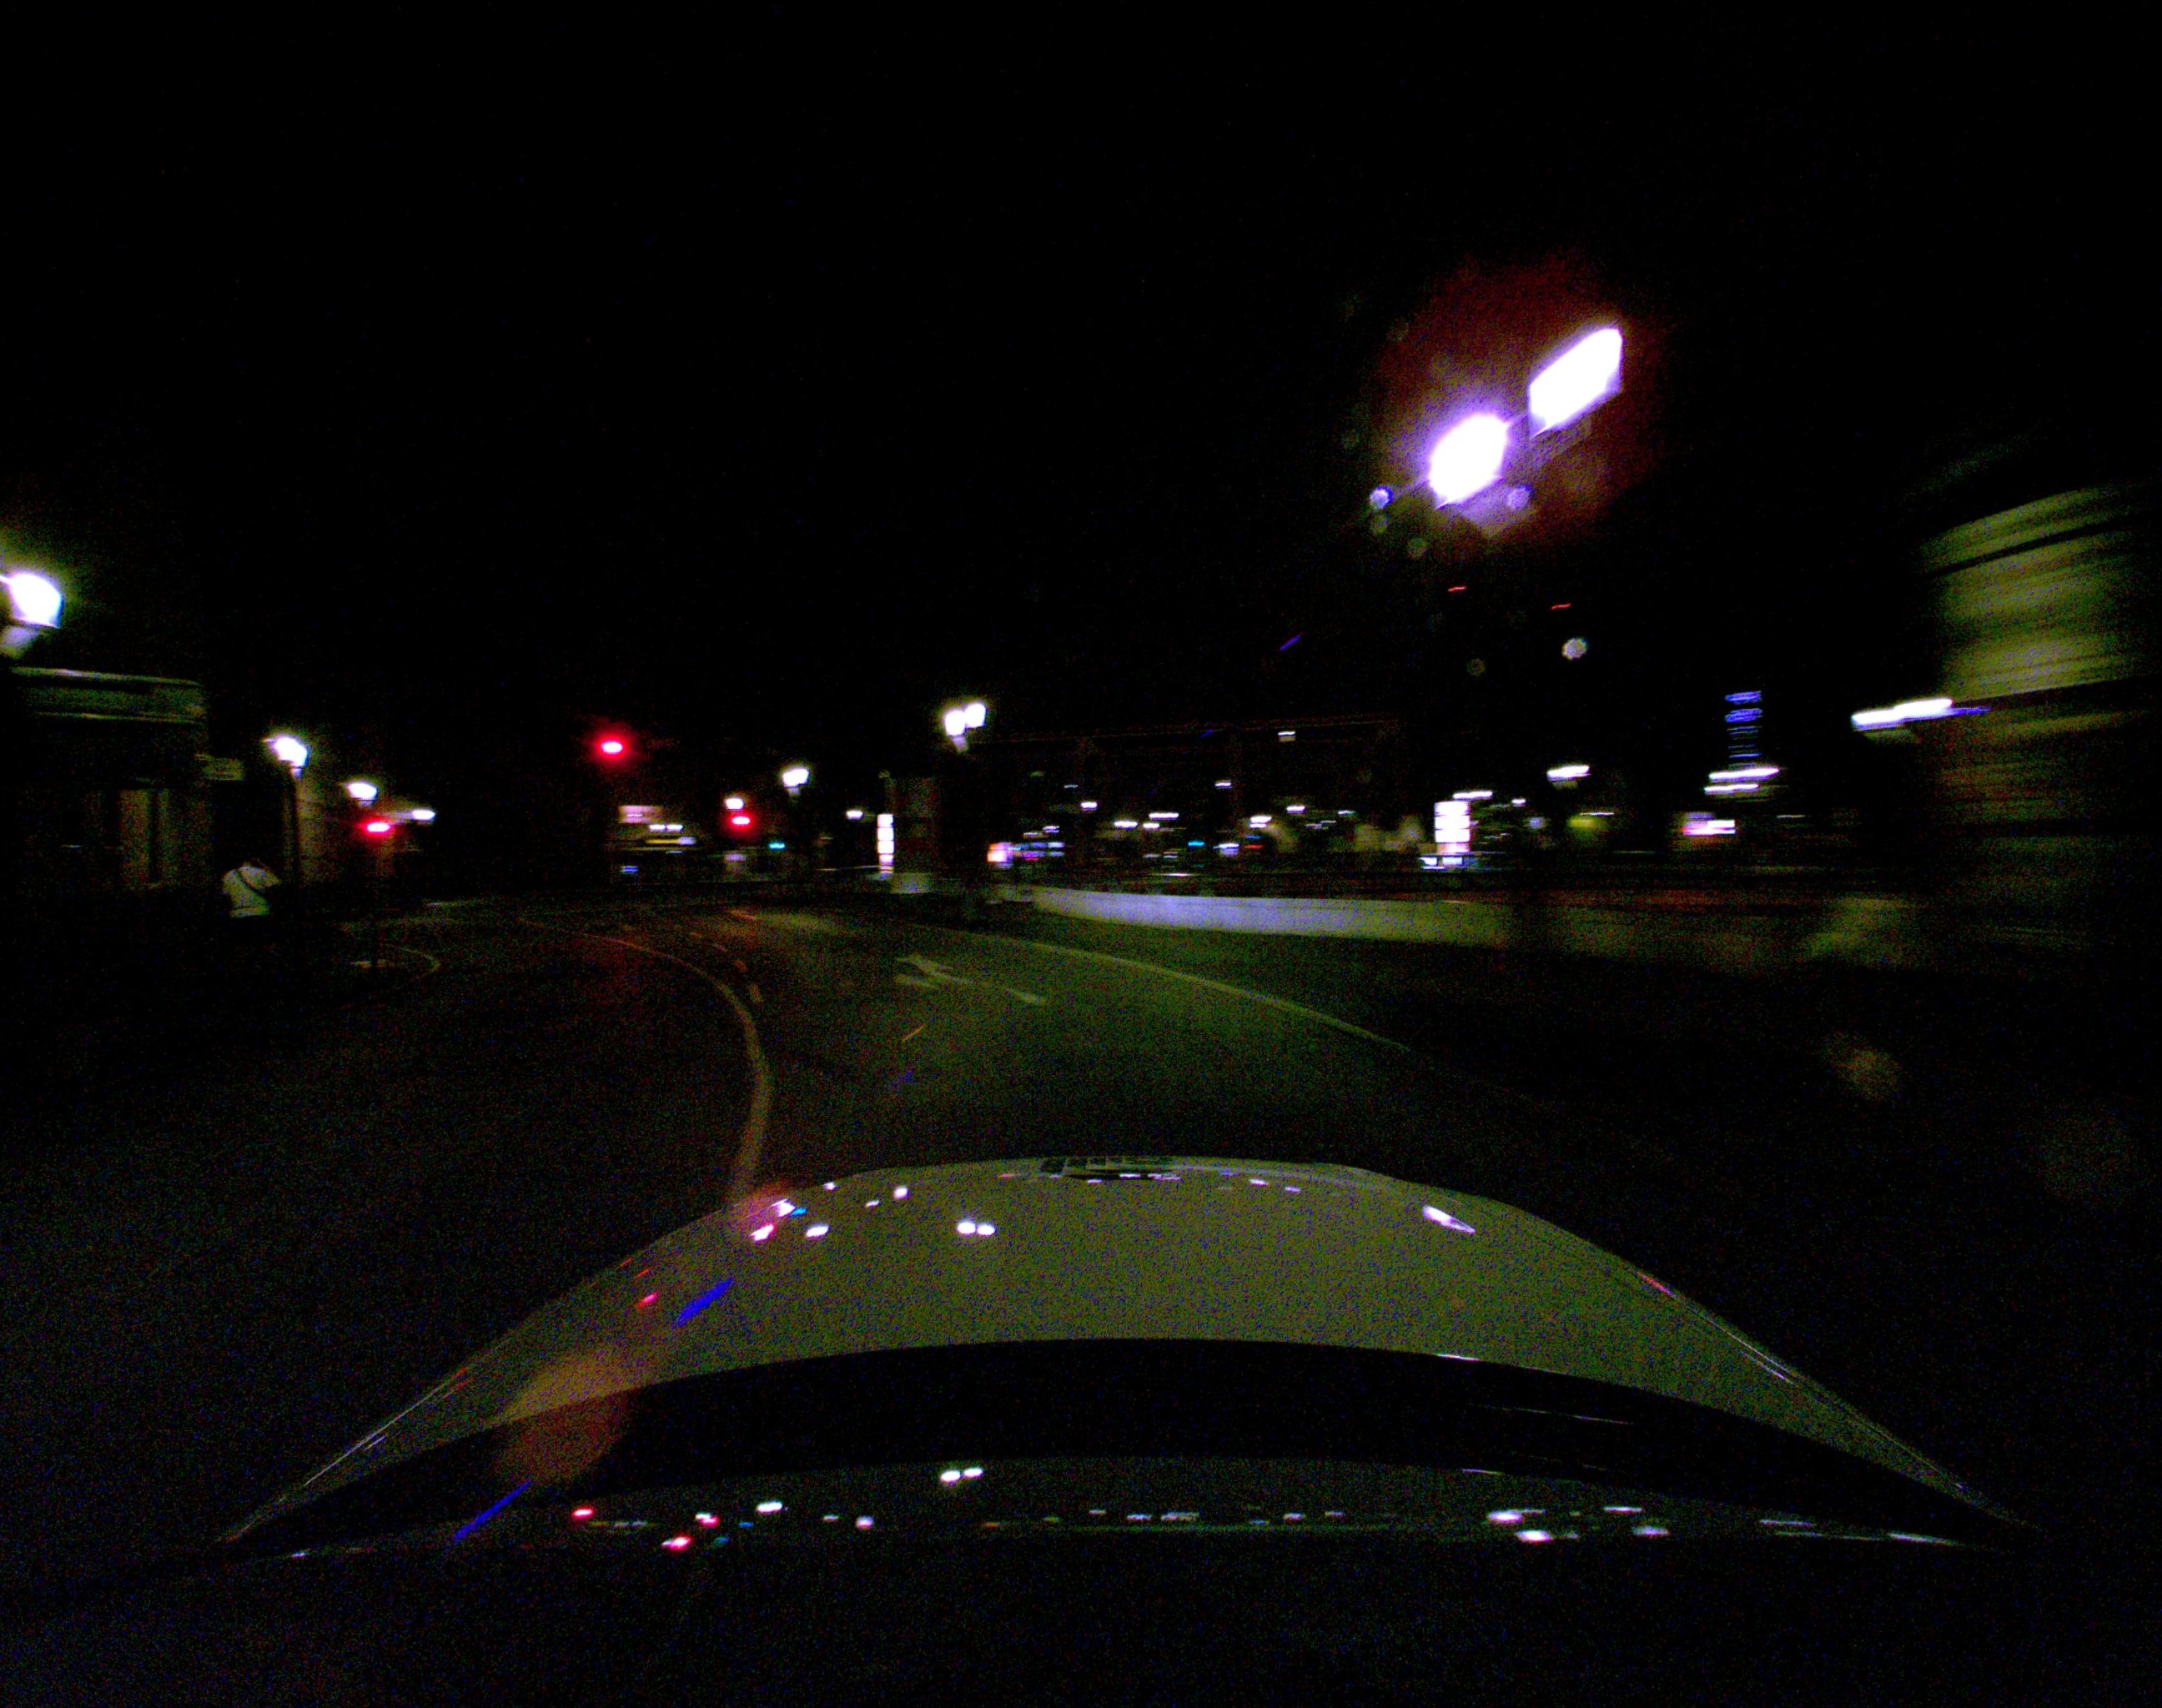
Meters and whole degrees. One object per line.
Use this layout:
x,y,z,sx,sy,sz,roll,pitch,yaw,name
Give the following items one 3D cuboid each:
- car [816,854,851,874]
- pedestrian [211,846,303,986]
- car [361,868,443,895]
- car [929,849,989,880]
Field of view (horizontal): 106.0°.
-21.026,0.845,69.179,2.006,1.574,3.619,-2,0,-30,car
-11.227,0.818,11.130,0.728,1.822,0.685,1,-1,-33,pedestrian
-47.133,1.896,56.577,4.288,1.574,2.005,-3,-1,9,car
-6.679,0.547,45.125,1.982,1.574,4.340,-2,0,9,car
